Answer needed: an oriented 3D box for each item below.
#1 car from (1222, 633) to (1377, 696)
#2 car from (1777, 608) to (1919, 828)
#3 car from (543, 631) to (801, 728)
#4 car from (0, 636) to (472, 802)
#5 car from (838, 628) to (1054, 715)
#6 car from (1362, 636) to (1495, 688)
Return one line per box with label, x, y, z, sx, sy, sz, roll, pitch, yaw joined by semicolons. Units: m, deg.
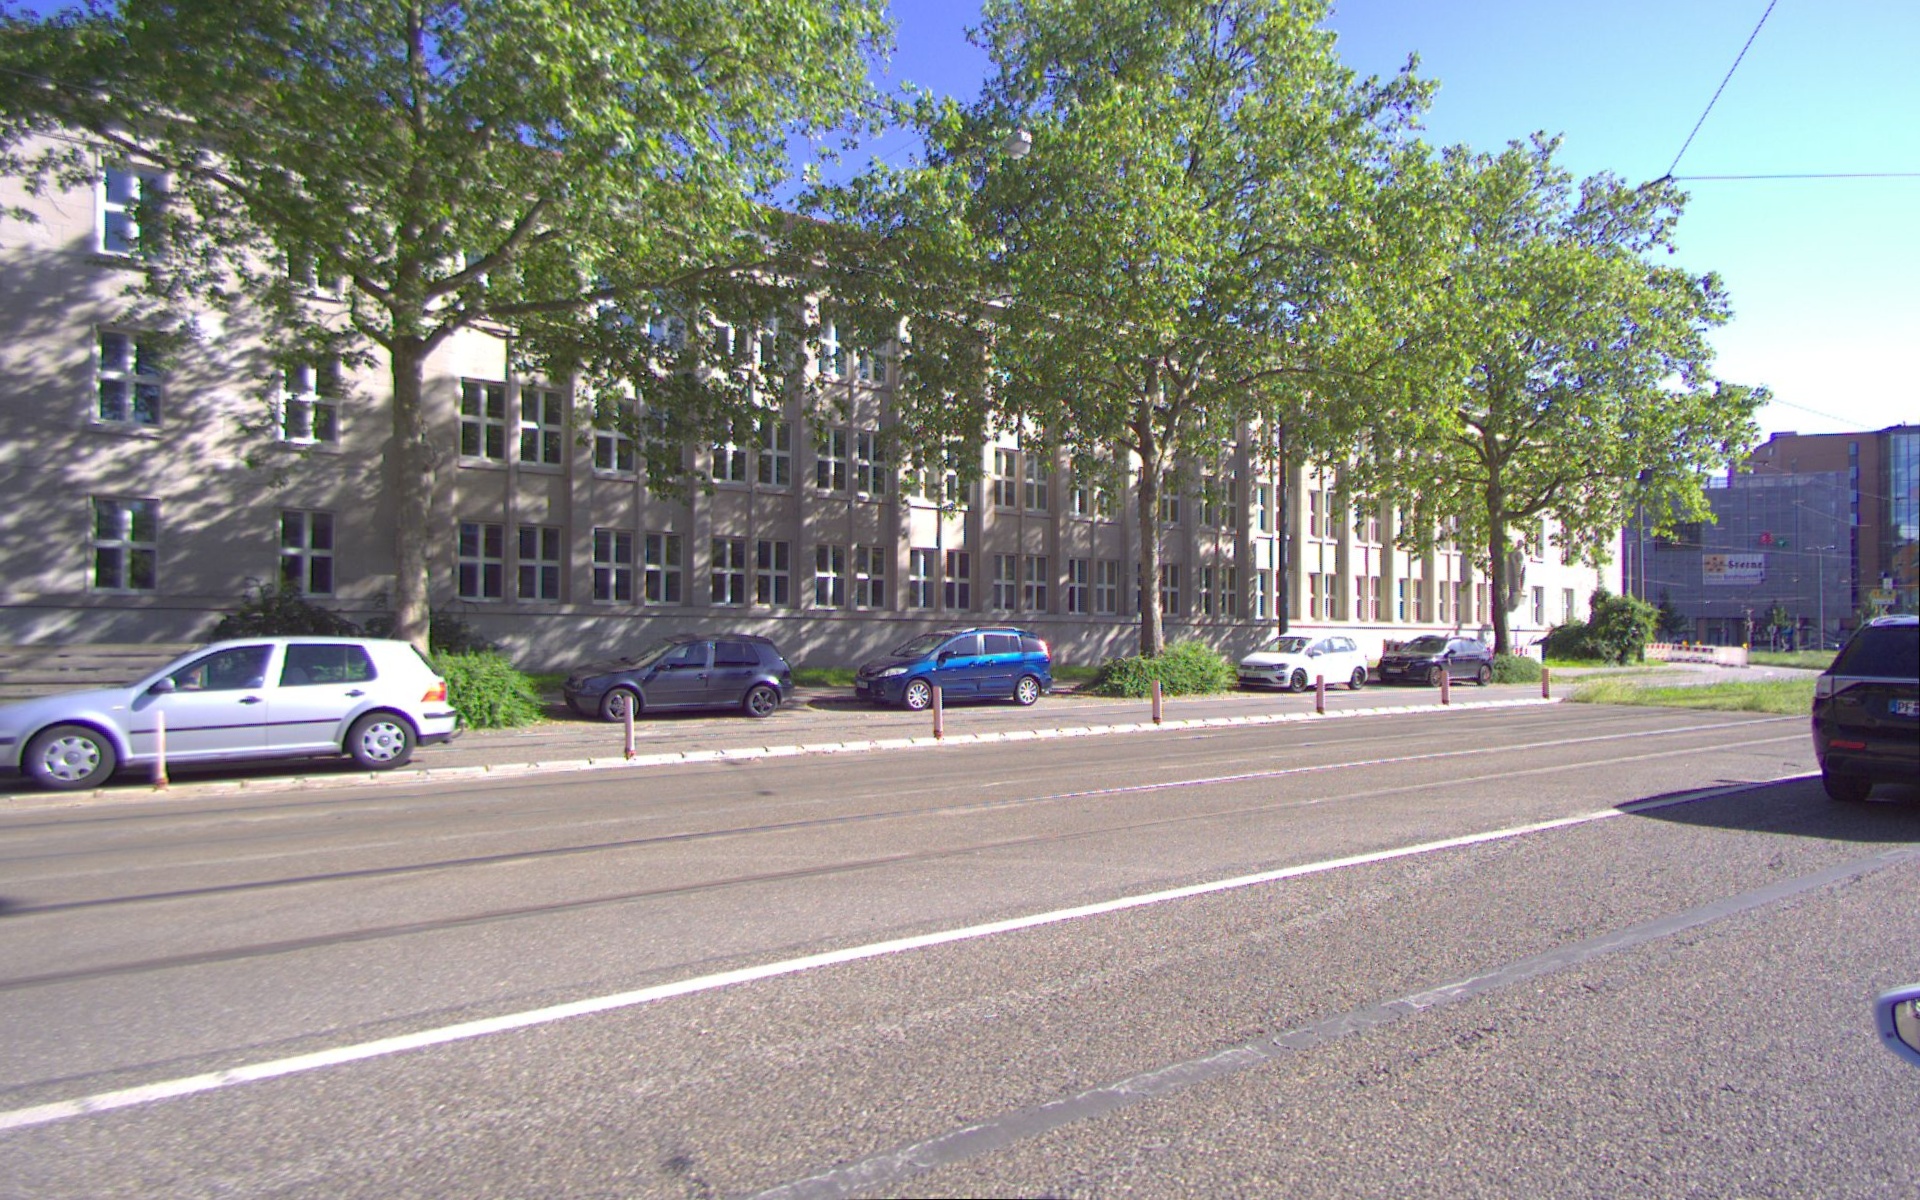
car;9.424;1.732;27.763;4.351;1.608;1.819;1;-3;-35
car;9.376;0.985;9.076;4.594;1.704;1.825;2;-2;-34
car;-5.099;1.350;18.028;4.148;1.568;1.661;2;-2;-36
car;-7.552;1.137;10.662;4.124;1.472;1.821;1;-3;-32
car;-0.236;1.455;21.269;4.353;1.660;1.818;2;-2;-36
car;14.610;1.893;31.281;4.136;1.512;1.820;2;-2;-33
